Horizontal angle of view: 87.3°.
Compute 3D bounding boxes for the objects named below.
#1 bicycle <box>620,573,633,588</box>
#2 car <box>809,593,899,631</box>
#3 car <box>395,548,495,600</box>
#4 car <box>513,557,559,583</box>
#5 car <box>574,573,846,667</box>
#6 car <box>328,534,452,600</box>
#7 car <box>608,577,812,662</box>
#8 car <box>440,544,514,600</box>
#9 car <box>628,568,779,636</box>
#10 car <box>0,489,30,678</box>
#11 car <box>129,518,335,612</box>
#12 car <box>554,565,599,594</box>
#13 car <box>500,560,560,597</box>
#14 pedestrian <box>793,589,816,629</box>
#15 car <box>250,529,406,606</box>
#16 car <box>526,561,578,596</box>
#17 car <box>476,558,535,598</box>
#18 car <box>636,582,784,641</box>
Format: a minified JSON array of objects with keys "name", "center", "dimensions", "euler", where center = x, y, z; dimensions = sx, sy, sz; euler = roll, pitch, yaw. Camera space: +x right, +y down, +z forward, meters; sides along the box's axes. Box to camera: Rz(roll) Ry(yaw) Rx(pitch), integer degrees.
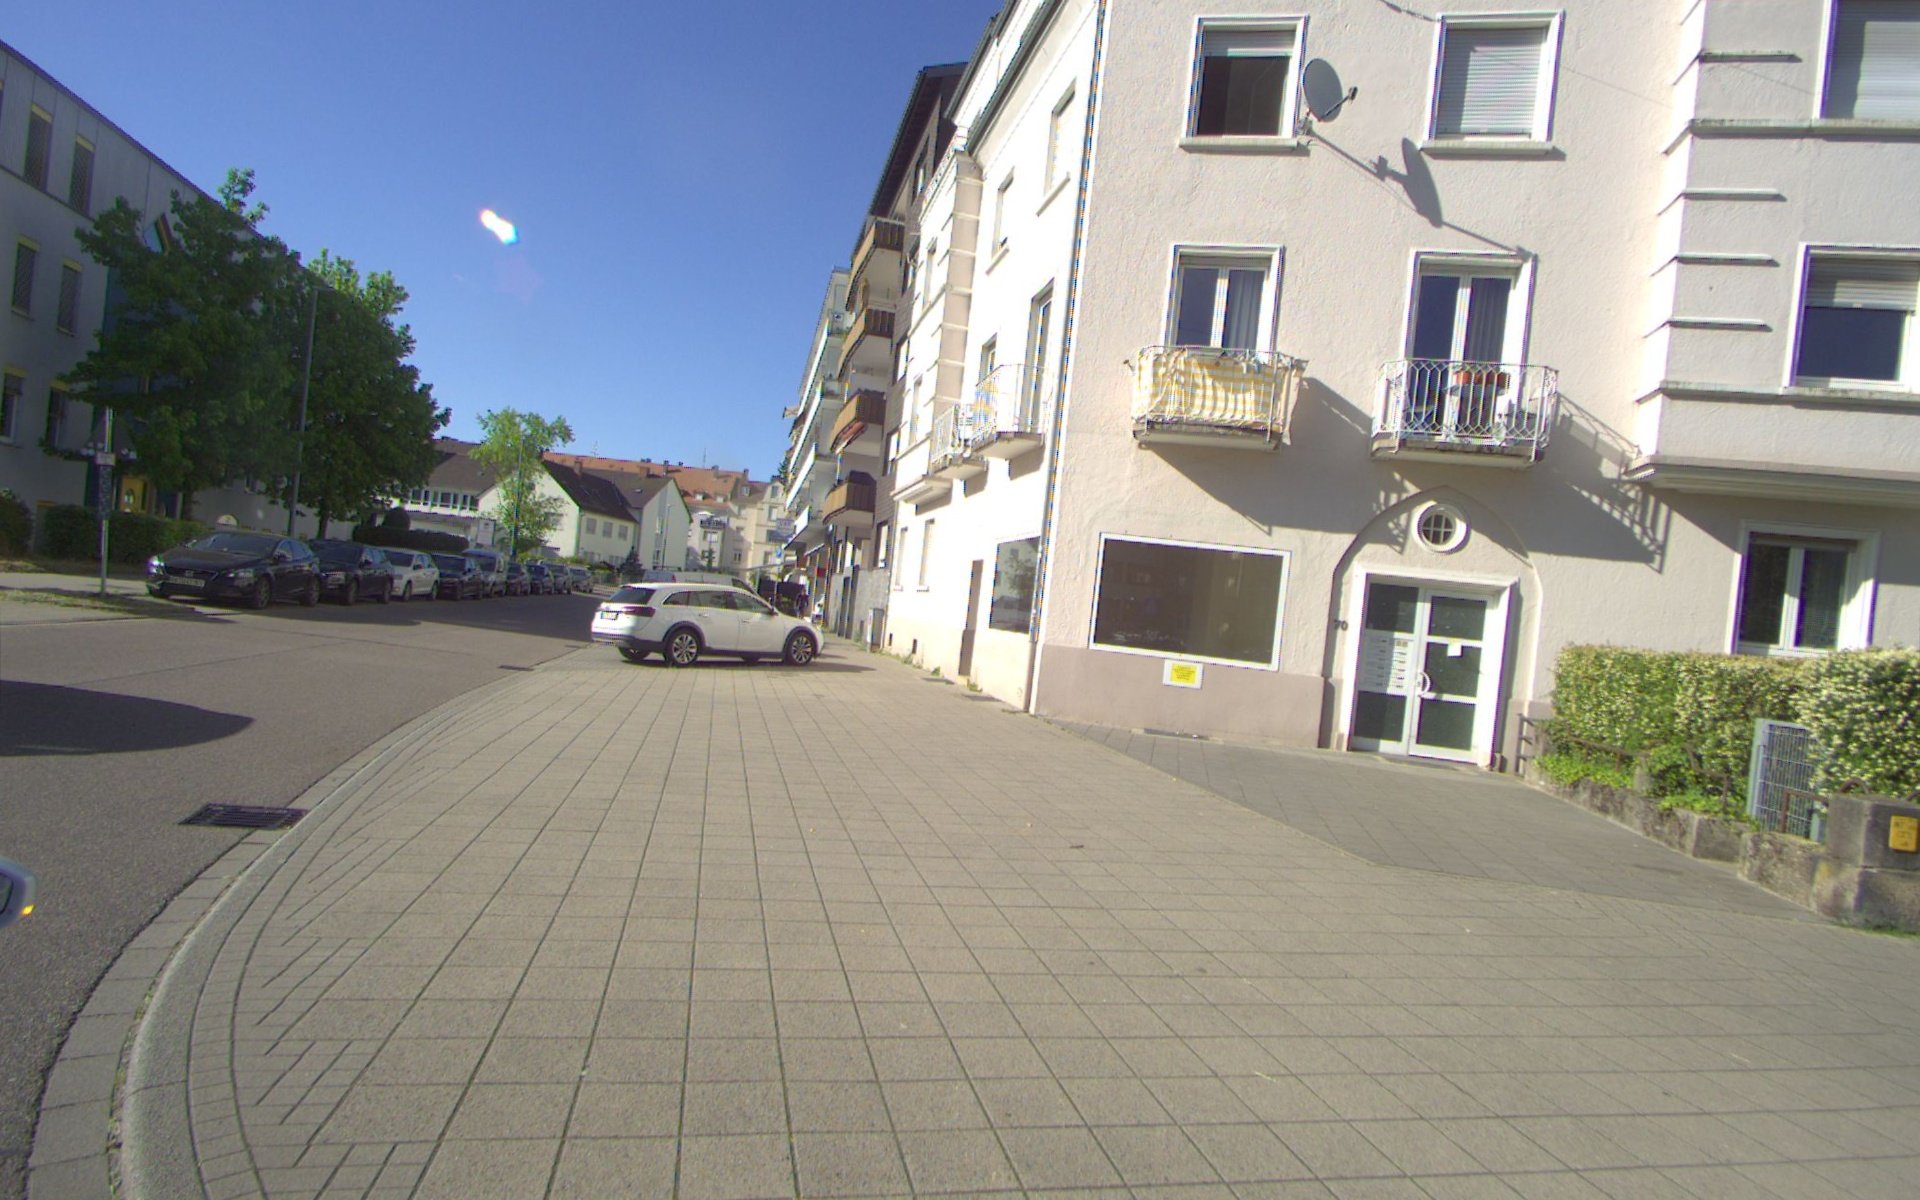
[{"name":"bicycle","center":[-30.917,-1.810,93.224],"dimensions":[0.449,1.264,1.930],"euler":[6,-3,-1]},{"name":"car","center":[-5.580,0.609,52.694],"dimensions":[4.334,1.531,1.975],"euler":[6,-1,-14]},{"name":"car","center":[-17.470,-0.852,34.360],"dimensions":[1.710,1.457,4.602],"euler":[7,-1,-12]},{"name":"car","center":[-33.769,-2.366,80.260],"dimensions":[1.771,1.573,3.194],"euler":[6,-3,10]},{"name":"car","center":[-4.712,0.439,19.608],"dimensions":[1.946,1.483,4.846],"euler":[6,2,41]},{"name":"car","center":[-16.548,-0.882,29.476],"dimensions":[1.885,1.548,4.612],"euler":[7,-1,-15]},{"name":"car","center":[-5.649,0.485,23.096],"dimensions":[1.799,1.514,4.151],"euler":[4,-3,42]},{"name":"car","center":[-18.771,-1.087,39.299],"dimensions":[1.667,1.861,4.327],"euler":[7,0,-15]},{"name":"car","center":[-8.381,0.115,33.244],"dimensions":[2.019,1.921,4.513],"euler":[3,-1,35]},{"name":"car","center":[-8.255,-0.261,6.108],"dimensions":[1.812,1.521,4.132],"euler":[7,-2,-11]},{"name":"car","center":[-14.163,-0.639,19.889],"dimensions":[1.767,1.427,4.211],"euler":[7,-1,-15]},{"name":"car","center":[-24.526,-1.291,64.524],"dimensions":[1.968,1.553,4.904],"euler":[7,0,-14]},{"name":"car","center":[-20.987,-1.032,49.241],"dimensions":[1.703,1.483,4.429],"euler":[7,-1,-12]},{"name":"pedestrian","center":[-6.689,0.376,43.334],"dimensions":[0.821,1.613,0.887],"euler":[5,0,-8]},{"name":"car","center":[-15.356,-0.735,24.738],"dimensions":[1.885,1.496,4.369],"euler":[7,-1,-15]},{"name":"car","center":[-22.101,-1.126,54.599],"dimensions":[1.697,1.605,4.411],"euler":[7,-1,-12]},{"name":"car","center":[-19.791,-0.944,43.962],"dimensions":[1.579,1.458,3.988],"euler":[7,-1,-15]},{"name":"car","center":[-7.384,0.365,29.971],"dimensions":[1.597,1.508,3.971],"euler":[3,-1,45]}]
